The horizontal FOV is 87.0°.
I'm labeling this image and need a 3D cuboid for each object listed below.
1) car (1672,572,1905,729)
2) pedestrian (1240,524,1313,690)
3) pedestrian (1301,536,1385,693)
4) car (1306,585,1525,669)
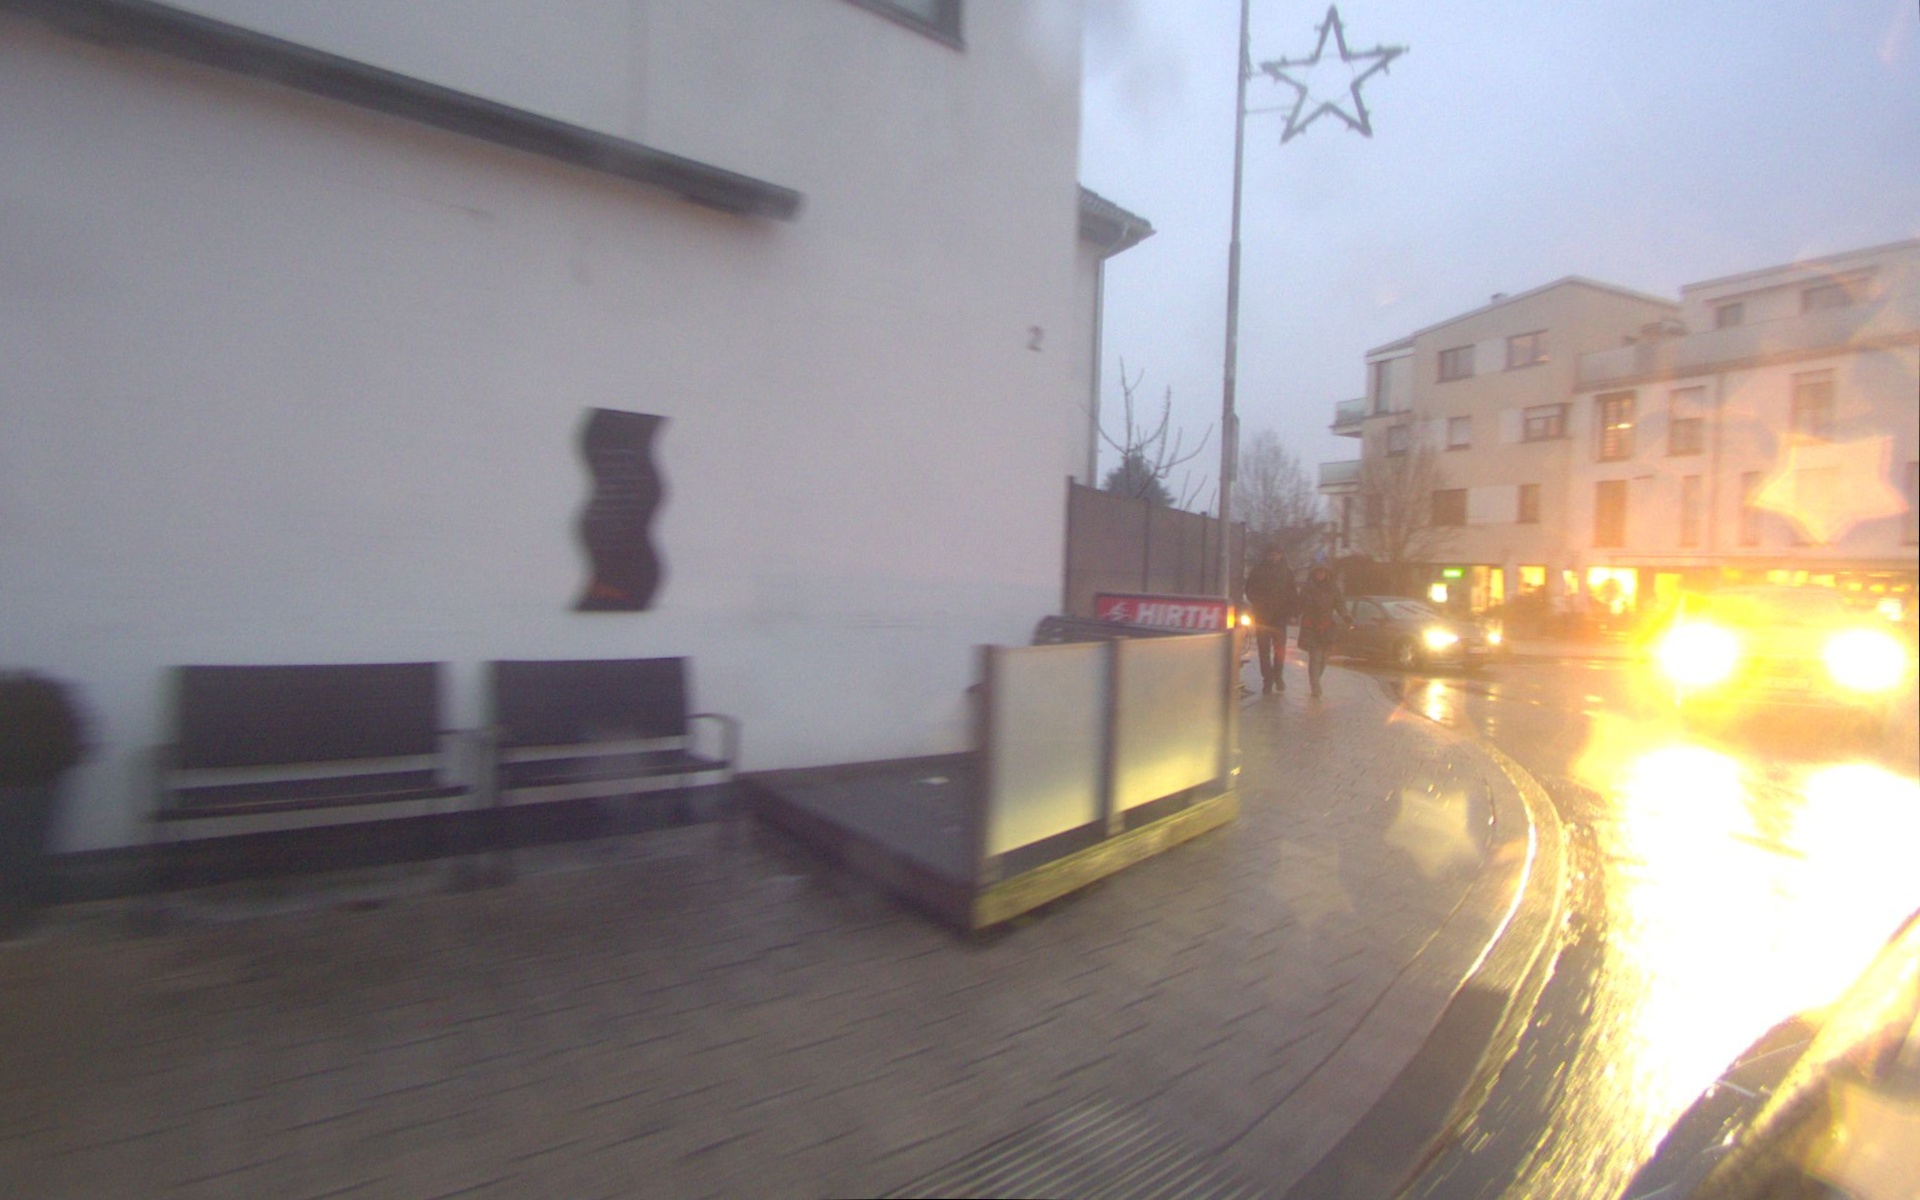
[{"bbox_3d":[10.279,0.507,12.658,1.950,1.605,4.051,2,1,39],"label":"car"},{"bbox_3d":[3.726,0.072,11.974,0.698,1.889,0.790,0,1,9],"label":"pedestrian"},{"bbox_3d":[4.486,0.160,11.902,0.755,1.783,0.790,0,1,9],"label":"pedestrian"},{"bbox_3d":[8.909,0.445,20.191,1.727,1.498,4.028,0,1,-18],"label":"car"}]
